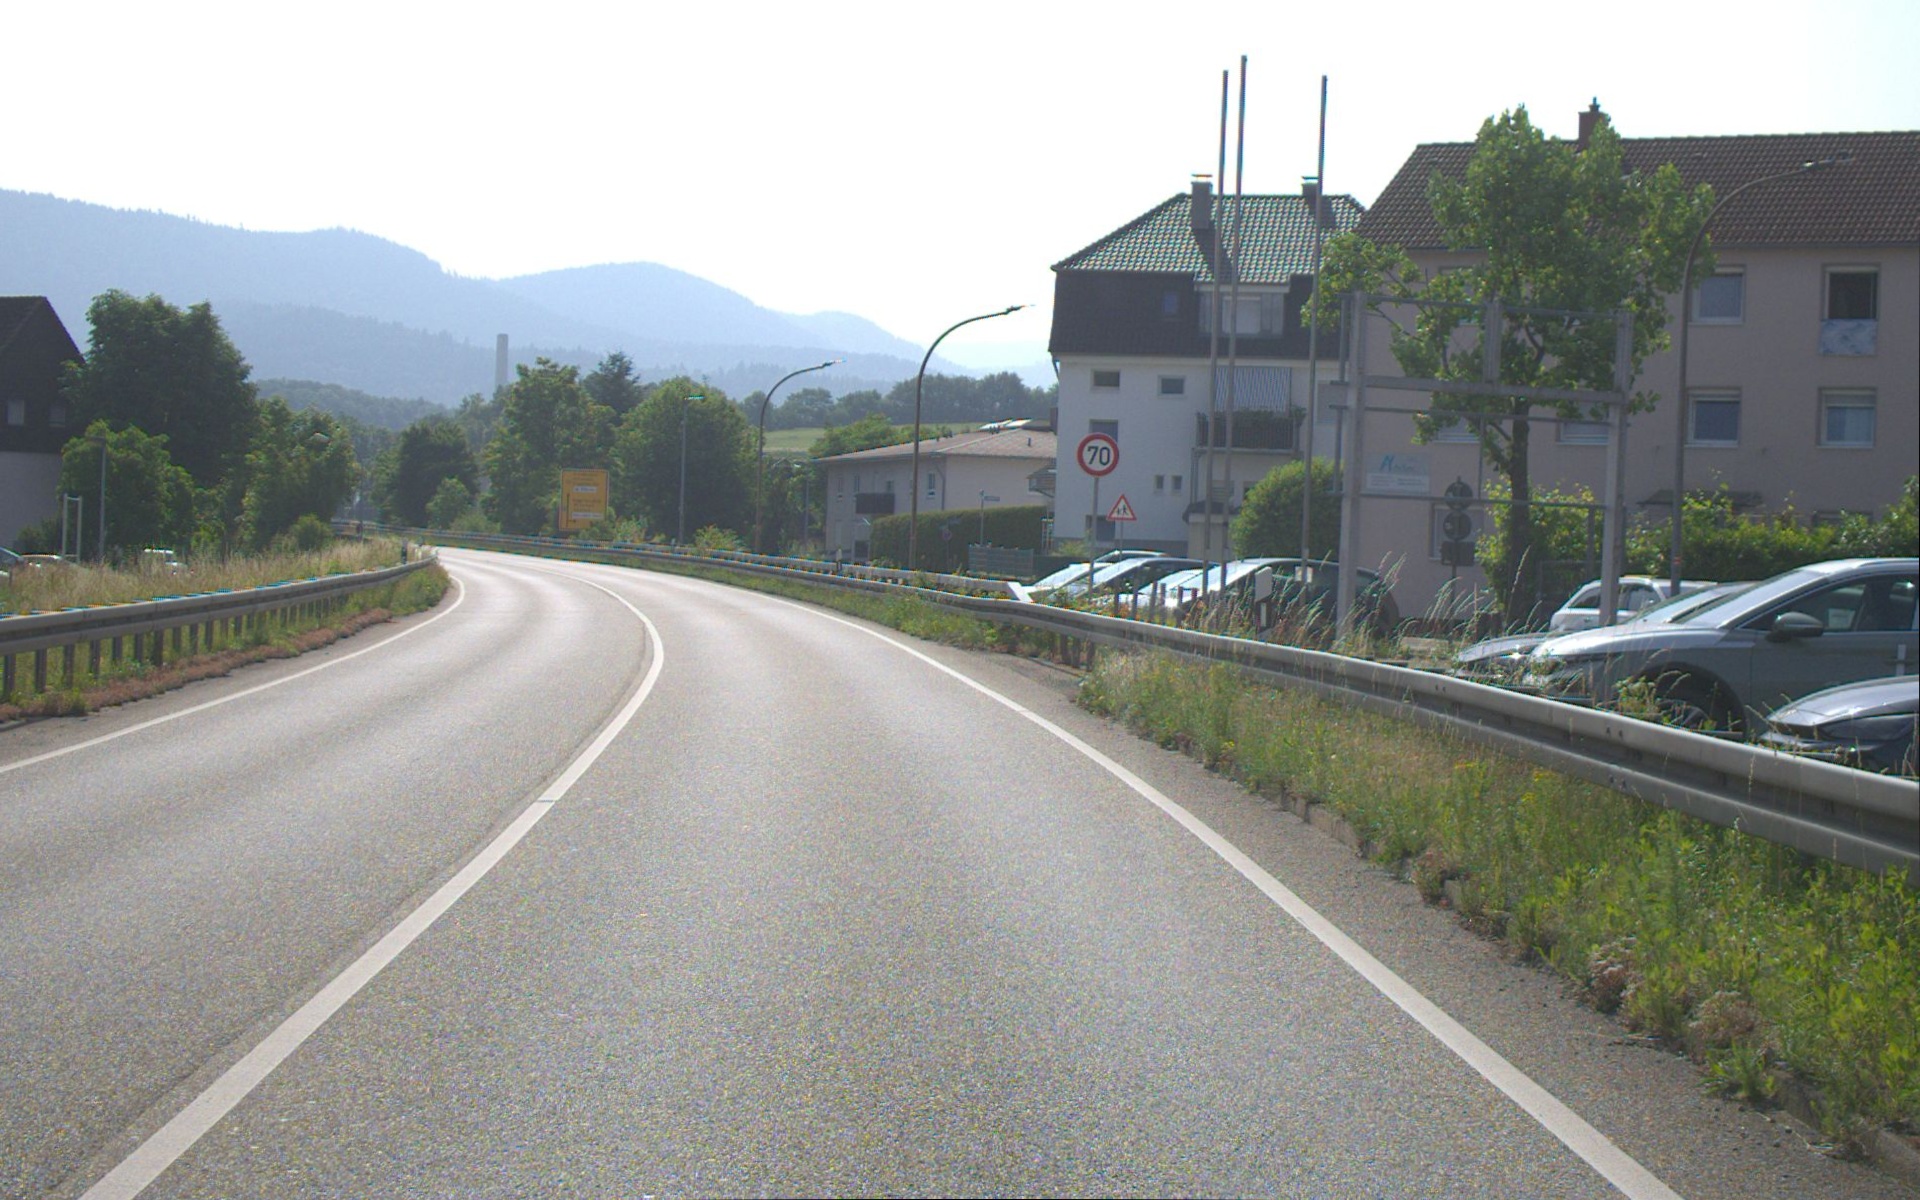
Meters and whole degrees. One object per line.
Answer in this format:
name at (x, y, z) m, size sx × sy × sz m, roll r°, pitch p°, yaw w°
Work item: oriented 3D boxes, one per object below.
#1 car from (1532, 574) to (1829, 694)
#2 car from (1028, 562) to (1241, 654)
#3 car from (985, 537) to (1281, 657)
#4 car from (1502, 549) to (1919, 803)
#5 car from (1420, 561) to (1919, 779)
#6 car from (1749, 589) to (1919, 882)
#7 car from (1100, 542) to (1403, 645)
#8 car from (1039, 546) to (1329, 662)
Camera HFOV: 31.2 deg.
car at (9.520, 0.427, 45.788) m, size 1.783 × 1.415 × 4.440 m, roll 1°, pitch 1°, yaw -20°
car at (2.987, 0.139, 58.992) m, size 3.262 × 1.372 × 1.550 m, roll 3°, pitch -1°, yaw -16°
car at (2.760, -0.049, 55.081) m, size 4.232 × 1.567 × 1.919 m, roll 5°, pitch -1°, yaw -17°
car at (6.070, 0.503, 23.636) m, size 4.319 × 1.634 × 2.140 m, roll 1°, pitch 0°, yaw 0°
car at (5.786, 0.531, 26.710) m, size 4.150 × 1.478 × 1.882 m, roll 3°, pitch 1°, yaw 2°
car at (6.486, 0.695, 17.932) m, size 4.319 × 1.439 × 1.628 m, roll 1°, pitch 0°, yaw -2°
car at (4.263, -0.098, 50.398) m, size 4.056 × 1.447 × 1.729 m, roll 1°, pitch 0°, yaw -20°
car at (3.411, 0.060, 52.675) m, size 3.985 × 1.444 × 1.765 m, roll 5°, pitch 0°, yaw -14°
